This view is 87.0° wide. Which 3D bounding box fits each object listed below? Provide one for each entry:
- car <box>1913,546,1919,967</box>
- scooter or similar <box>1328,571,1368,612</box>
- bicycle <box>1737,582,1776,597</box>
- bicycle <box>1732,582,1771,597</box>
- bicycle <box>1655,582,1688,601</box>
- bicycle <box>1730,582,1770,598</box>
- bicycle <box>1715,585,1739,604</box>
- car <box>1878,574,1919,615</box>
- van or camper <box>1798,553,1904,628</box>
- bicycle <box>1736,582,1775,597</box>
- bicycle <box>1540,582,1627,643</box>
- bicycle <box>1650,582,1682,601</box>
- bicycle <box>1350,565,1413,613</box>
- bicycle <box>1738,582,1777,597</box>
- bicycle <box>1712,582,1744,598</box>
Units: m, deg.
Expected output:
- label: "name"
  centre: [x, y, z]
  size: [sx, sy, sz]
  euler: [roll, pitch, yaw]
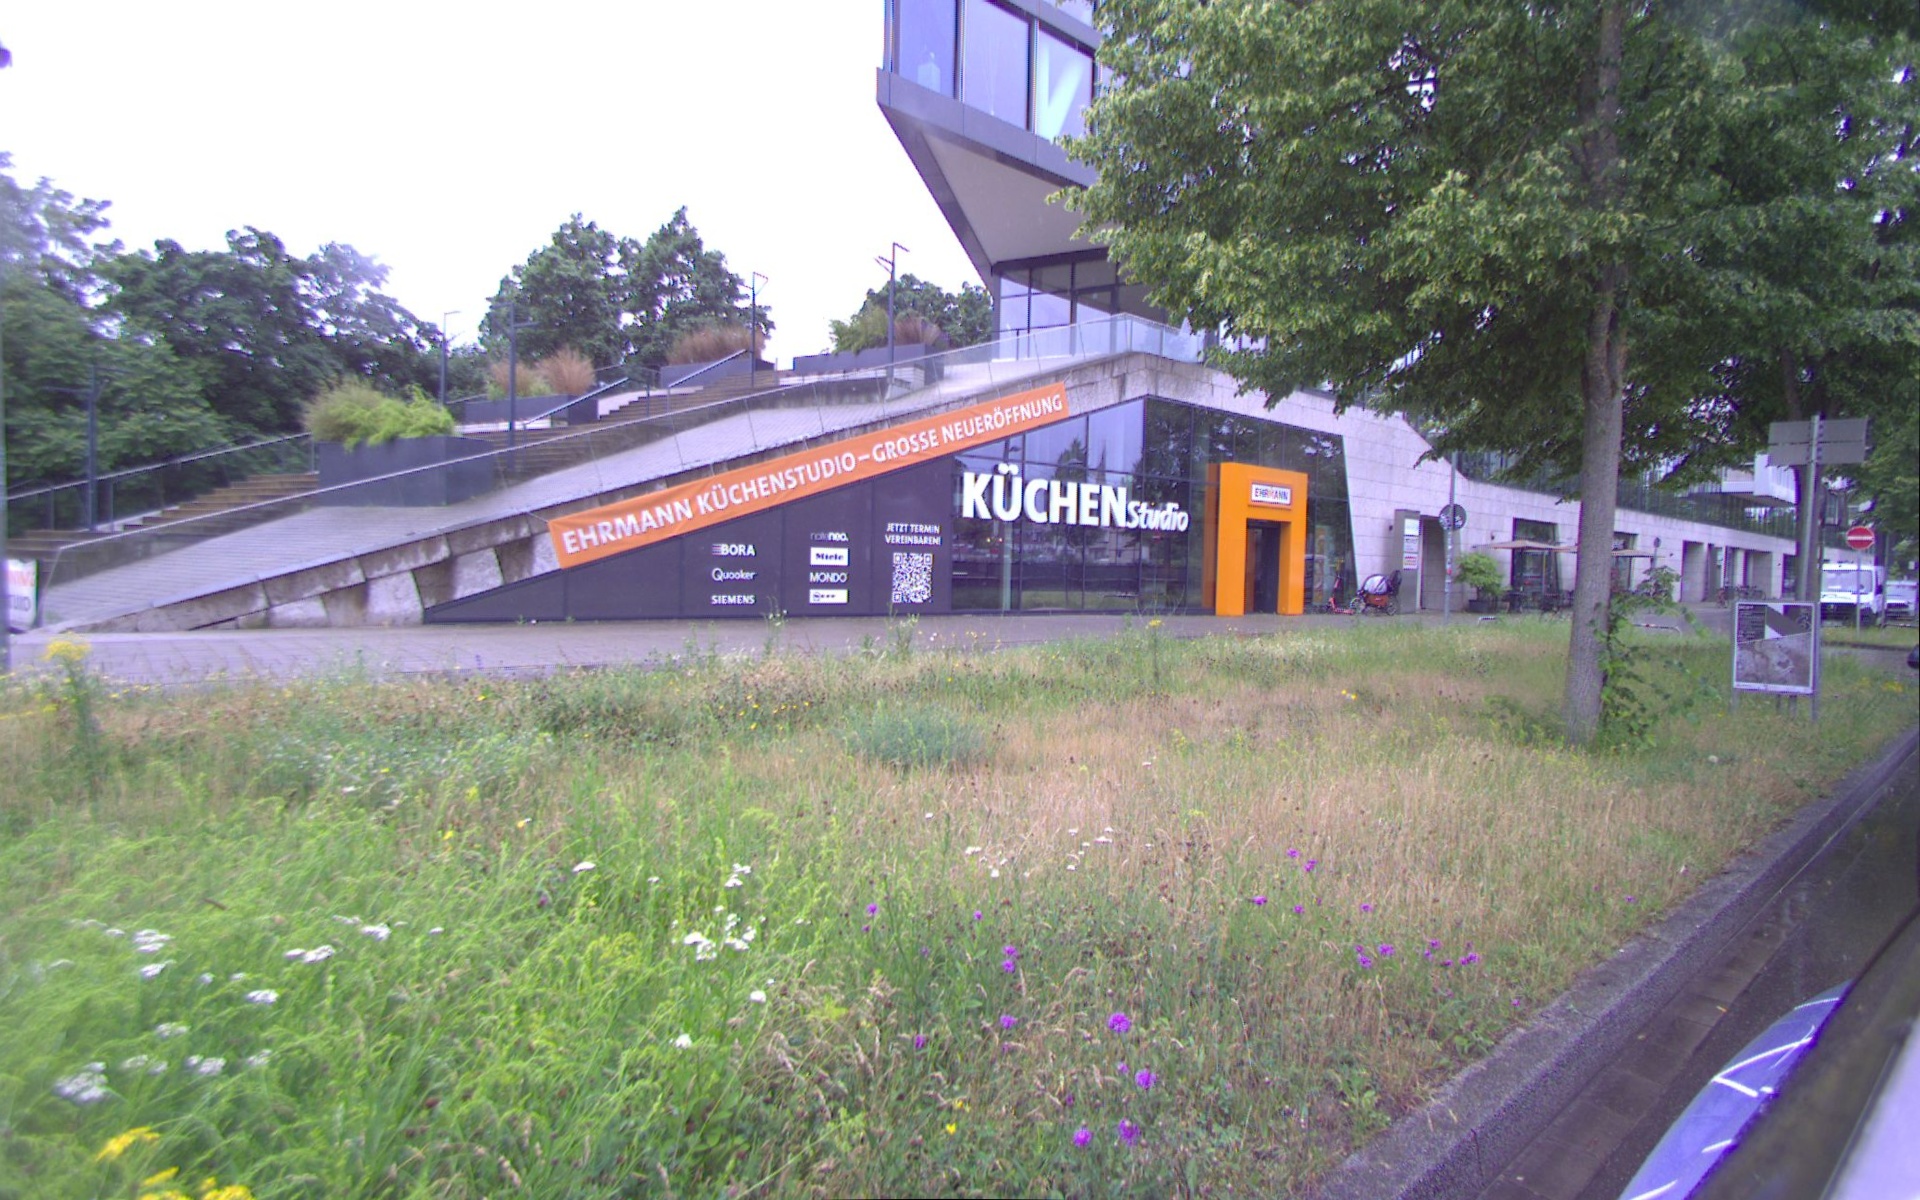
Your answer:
- label: "car"
  centre: [5.781, 0.571, 4.525]
  size: [3.930, 1.632, 1.814]
  euler: [-1, 1, -41]
- label: "scooter or similar"
  centre: [11.765, -0.261, 30.690]
  size: [1.214, 1.243, 0.343]
  euler: [-1, 0, -22]
- label: "bicycle"
  centre: [54.292, -0.735, 69.028]
  size: [0.389, 0.957, 2.025]
  euler: [-1, 4, -45]
- label: "bicycle"
  centre: [53.125, -0.707, 67.925]
  size: [0.389, 0.957, 2.025]
  euler: [-1, 4, -45]
- label: "bicycle"
  centre: [37.246, -0.461, 52.988]
  size: [0.388, 0.958, 2.028]
  euler: [-1, 1, 4]
- label: "bicycle"
  centre: [52.615, -0.696, 67.387]
  size: [0.389, 0.957, 2.025]
  euler: [-1, 4, -45]
- label: "bicycle"
  centre: [39.620, -0.284, 52.286]
  size: [1.823, 0.957, 0.403]
  euler: [-1, 2, -34]
- label: "car"
  centre: [43.255, -0.282, 46.022]
  size: [4.766, 1.781, 1.744]
  euler: [-1, 2, -42]
- label: "van or camper"
  centre: [29.586, -0.364, 33.549]
  size: [5.367, 2.320, 2.028]
  euler: [-1, 2, -42]
- label: "bicycle"
  centre: [53.937, -0.731, 68.661]
  size: [0.389, 0.957, 2.025]
  euler: [-1, 4, -45]
- label: "bicycle"
  centre: [14.586, 0.276, 23.744]
  size: [0.521, 1.363, 1.852]
  euler: [2, 1, -16]
- label: "bicycle"
  centre: [36.615, -0.446, 52.512]
  size: [0.388, 0.958, 2.028]
  euler: [-1, 1, 4]
- label: "bicycle"
  centre: [13.210, -0.343, 31.676]
  size: [2.382, 1.419, 0.734]
  euler: [0, 3, -41]
- label: "bicycle"
  centre: [54.785, -0.744, 69.553]
  size: [0.389, 0.957, 2.025]
  euler: [-1, 4, -45]
- label: "bicycle"
  centre: [49.464, -0.667, 65.214]
  size: [0.339, 0.957, 1.665]
  euler: [0, 3, -22]
